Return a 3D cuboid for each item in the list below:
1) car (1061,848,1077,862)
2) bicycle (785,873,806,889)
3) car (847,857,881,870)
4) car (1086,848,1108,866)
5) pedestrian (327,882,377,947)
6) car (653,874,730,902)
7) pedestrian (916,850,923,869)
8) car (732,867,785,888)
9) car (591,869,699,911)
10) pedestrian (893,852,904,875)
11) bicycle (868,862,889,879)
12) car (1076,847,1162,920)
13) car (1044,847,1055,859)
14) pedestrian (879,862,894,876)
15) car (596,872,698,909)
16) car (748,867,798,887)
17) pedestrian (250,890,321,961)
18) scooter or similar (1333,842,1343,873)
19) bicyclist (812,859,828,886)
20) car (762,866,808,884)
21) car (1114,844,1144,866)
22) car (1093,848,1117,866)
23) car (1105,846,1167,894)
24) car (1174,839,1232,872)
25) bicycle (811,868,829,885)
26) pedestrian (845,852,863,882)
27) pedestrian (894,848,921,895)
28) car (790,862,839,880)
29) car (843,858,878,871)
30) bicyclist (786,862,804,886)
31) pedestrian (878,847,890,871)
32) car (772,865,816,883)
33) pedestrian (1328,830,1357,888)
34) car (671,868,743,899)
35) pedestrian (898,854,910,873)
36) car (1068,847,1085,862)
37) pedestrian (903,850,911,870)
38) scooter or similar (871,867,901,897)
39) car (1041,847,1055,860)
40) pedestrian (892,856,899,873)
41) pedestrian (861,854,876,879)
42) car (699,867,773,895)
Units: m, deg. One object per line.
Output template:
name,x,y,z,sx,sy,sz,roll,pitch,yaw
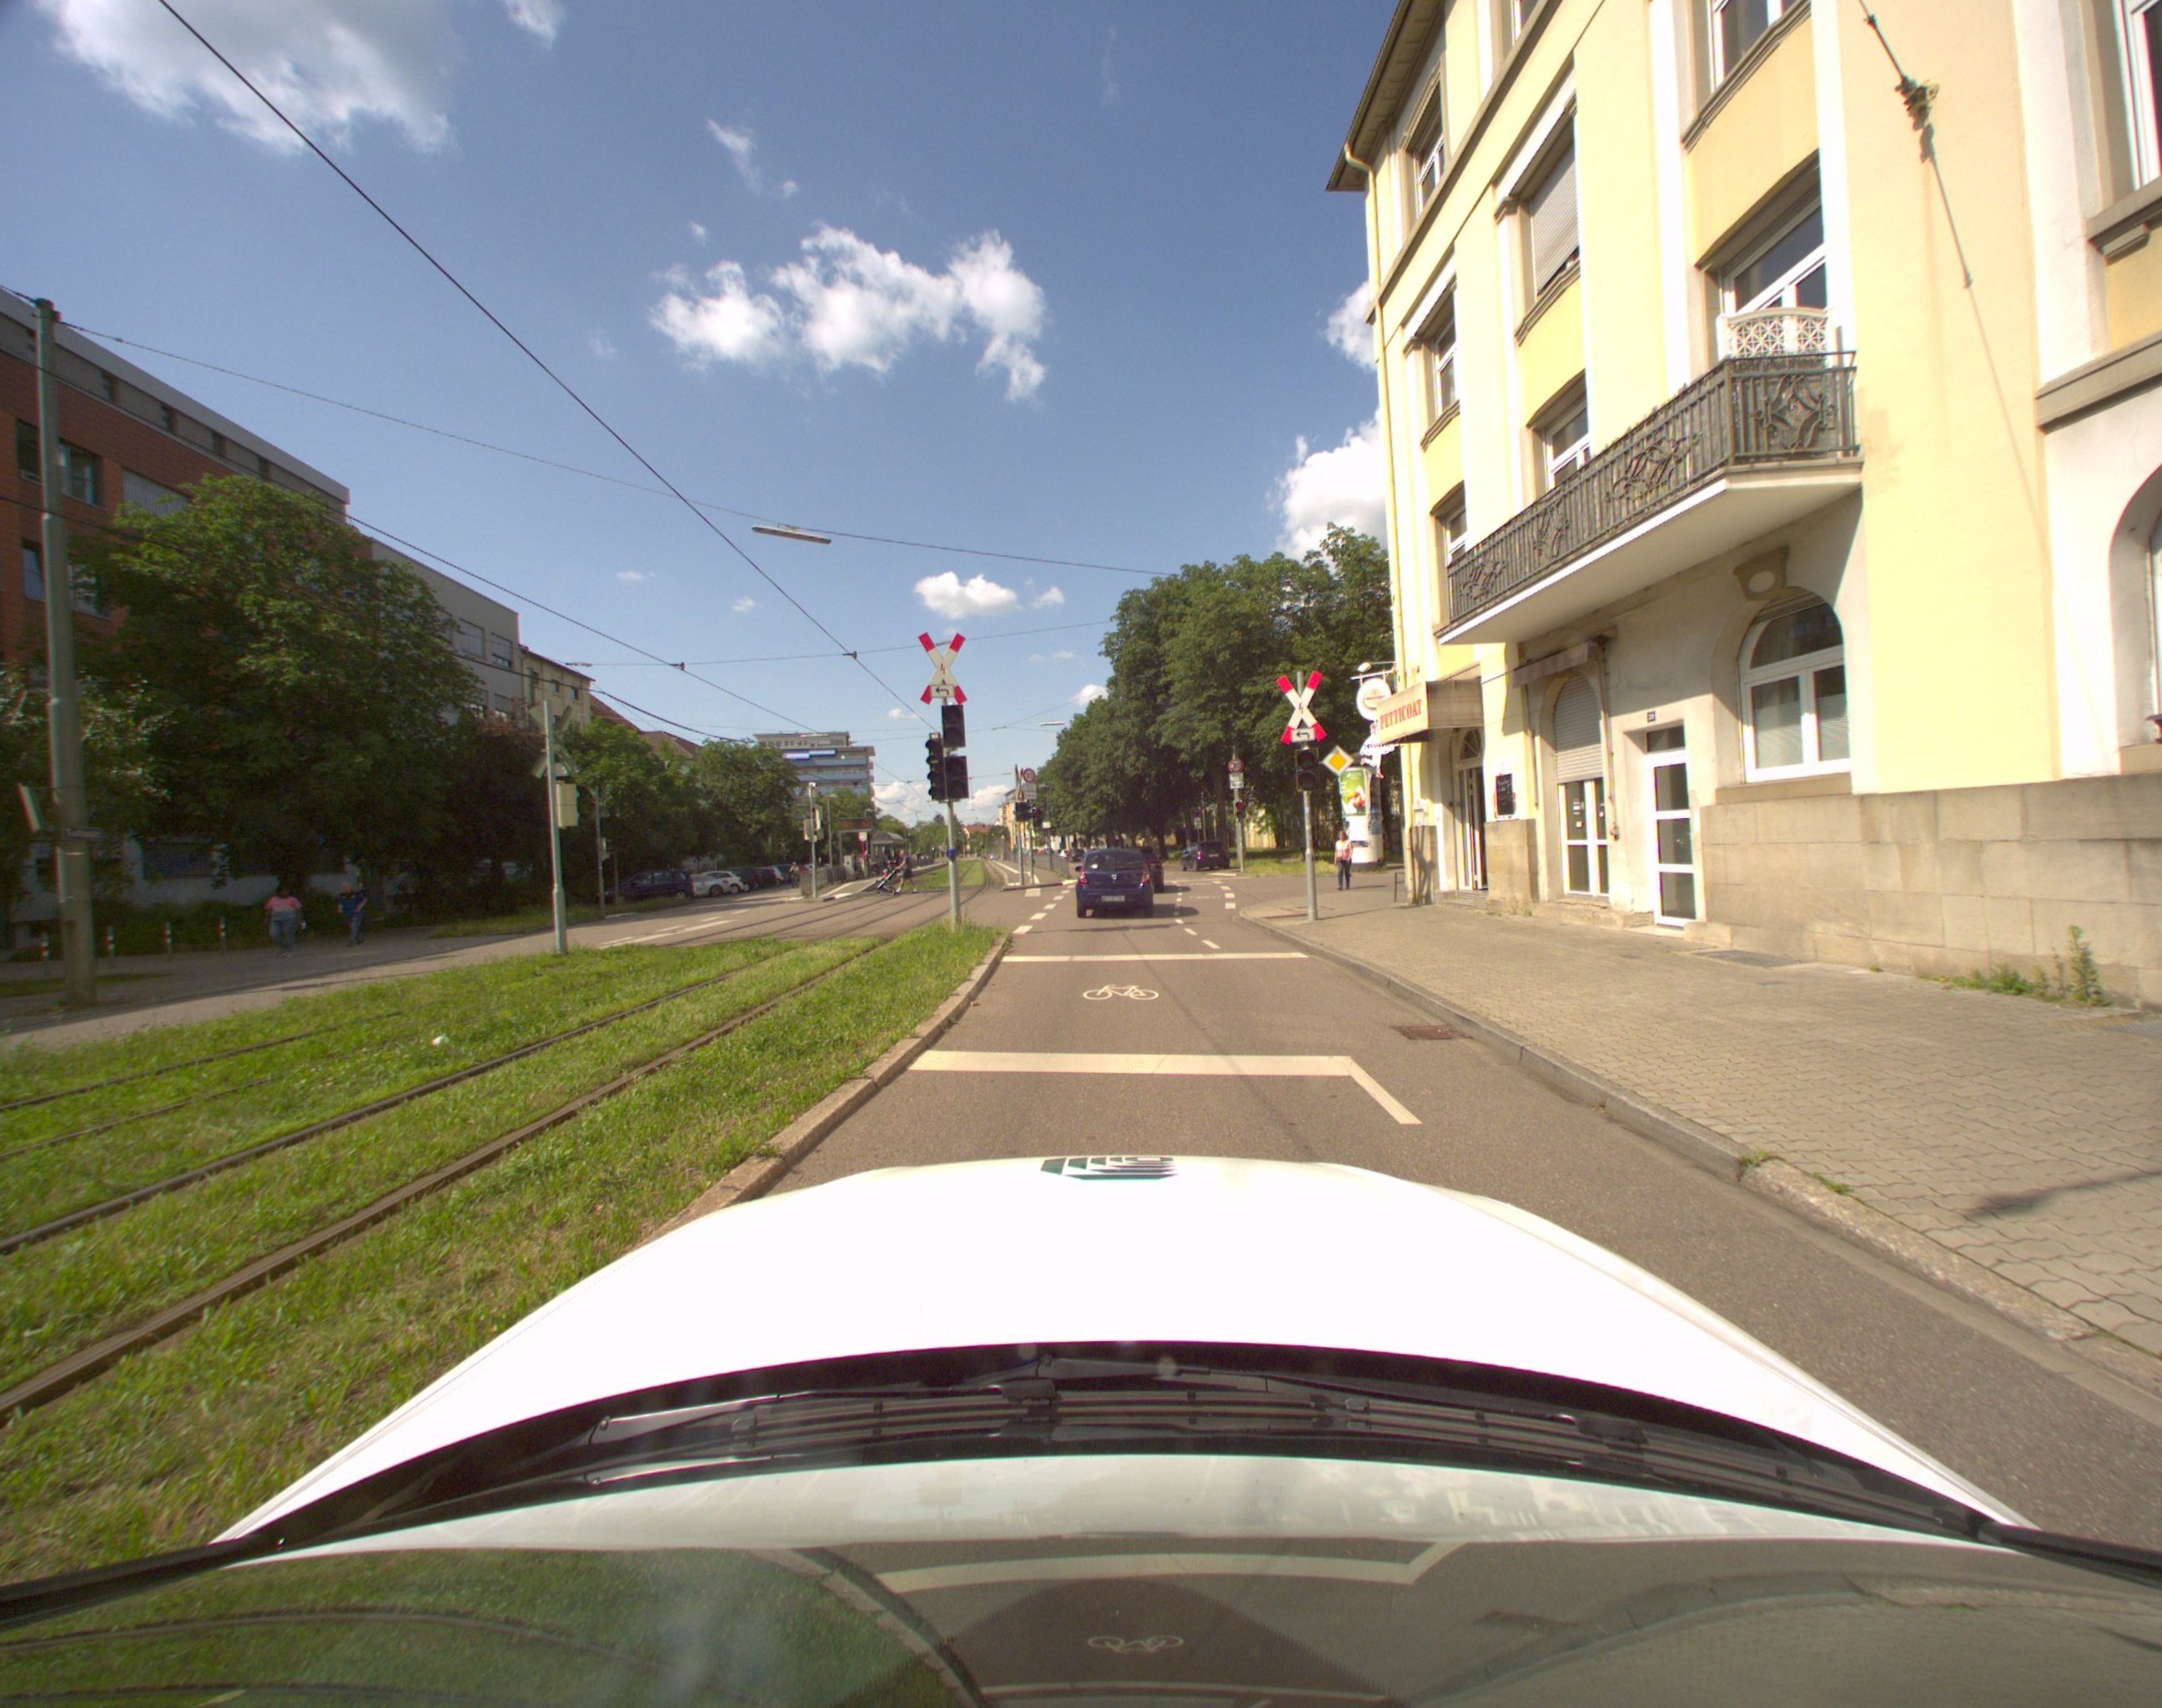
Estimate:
car,-1.586,0.105,104.035,1.615,1.749,3.992,-3,0,-6
bicycle,-19.412,1.815,55.380,0.679,0.971,2.176,-4,0,-3
car,-28.738,1.268,107.961,4.022,1.447,1.707,-3,0,-41
car,1.470,0.277,77.482,1.846,1.515,3.998,-3,0,-1
pedestrian,-19.281,1.586,21.558,0.554,1.657,0.747,-3,0,2
car,-21.198,1.828,44.404,1.525,1.236,3.410,-3,0,44
pedestrian,-17.133,0.602,86.351,0.661,2.013,0.800,-3,0,-12
car,-23.290,1.695,58.887,1.437,1.309,3.268,-3,0,35
car,-20.677,1.685,38.756,1.704,1.640,4.158,-3,0,44
pedestrian,-14.576,0.742,64.932,0.602,1.766,0.639,-3,0,2
bicycle,-13.161,1.083,52.986,0.683,0.974,1.773,-5,1,3
car,0.851,0.610,19.130,1.761,1.462,3.777,-3,0,1
car,-5.008,-0.145,128.666,1.663,1.771,3.996,-3,0,-3
pedestrian,-14.581,1.114,61.061,0.923,0.989,0.796,-4,-2,-5
car,-21.689,1.789,40.807,1.704,1.499,4.158,-3,0,44
car,-23.414,1.716,61.970,1.437,1.309,3.268,-3,0,38
pedestrian,-18.768,1.675,19.222,0.742,1.574,0.890,-3,-1,2
scooter or similar,10.104,0.120,32.028,0.303,1.189,1.167,-3,0,16
bicyclist,-20.459,1.435,63.877,0.949,2.013,1.568,-4,-1,-14
car,-24.582,1.743,67.783,1.437,1.309,3.268,-3,0,38
car,3.547,0.072,60.704,1.856,1.445,3.998,-5,0,-1
car,2.079,0.242,72.770,1.856,1.445,3.998,-5,0,-1
car,1.697,0.460,26.265,1.695,1.368,3.514,-3,1,0
car,5.984,0.082,40.390,1.764,1.433,3.894,-4,0,-7
bicycle,-20.449,1.748,63.895,1.155,1.177,1.779,-4,0,-13
pedestrian,-13.422,0.771,48.169,0.705,1.726,0.672,-3,0,35
pedestrian,-6.872,0.669,32.310,0.870,1.775,1.001,-4,0,-8
car,-25.423,1.641,77.769,1.694,1.367,4.025,-4,1,42
car,-27.807,1.289,102.790,1.618,1.385,4.026,-3,0,38
bicyclist,-19.439,1.368,55.361,0.783,1.581,0.862,-4,0,-4
pedestrian,-14.328,0.355,59.315,0.654,1.692,0.655,-4,0,-6
car,-25.014,1.739,70.990,1.437,1.309,3.268,-3,0,38
pedestrian,7.675,0.147,23.891,0.666,1.648,0.767,-4,0,22
car,-21.675,1.692,47.272,3.409,1.505,1.525,-3,0,-44
pedestrian,-14.257,0.748,65.518,0.648,1.426,0.566,-4,0,30
car,-0.562,0.024,95.441,1.823,1.537,3.998,-4,0,-1
pedestrian,-15.287,0.548,71.476,0.489,1.712,0.461,-4,0,-17
scooter or similar,-7.635,1.076,31.879,0.953,1.064,0.795,-5,1,-7
car,-4.935,-0.107,122.552,1.825,1.761,3.998,-3,0,-1
pedestrian,-16.298,0.890,71.382,0.489,1.452,0.461,-4,0,-17
pedestrian,-13.913,0.841,53.226,0.661,1.569,0.686,-4,0,1
car,-22.342,1.745,52.820,1.669,1.456,4.025,-3,1,43
